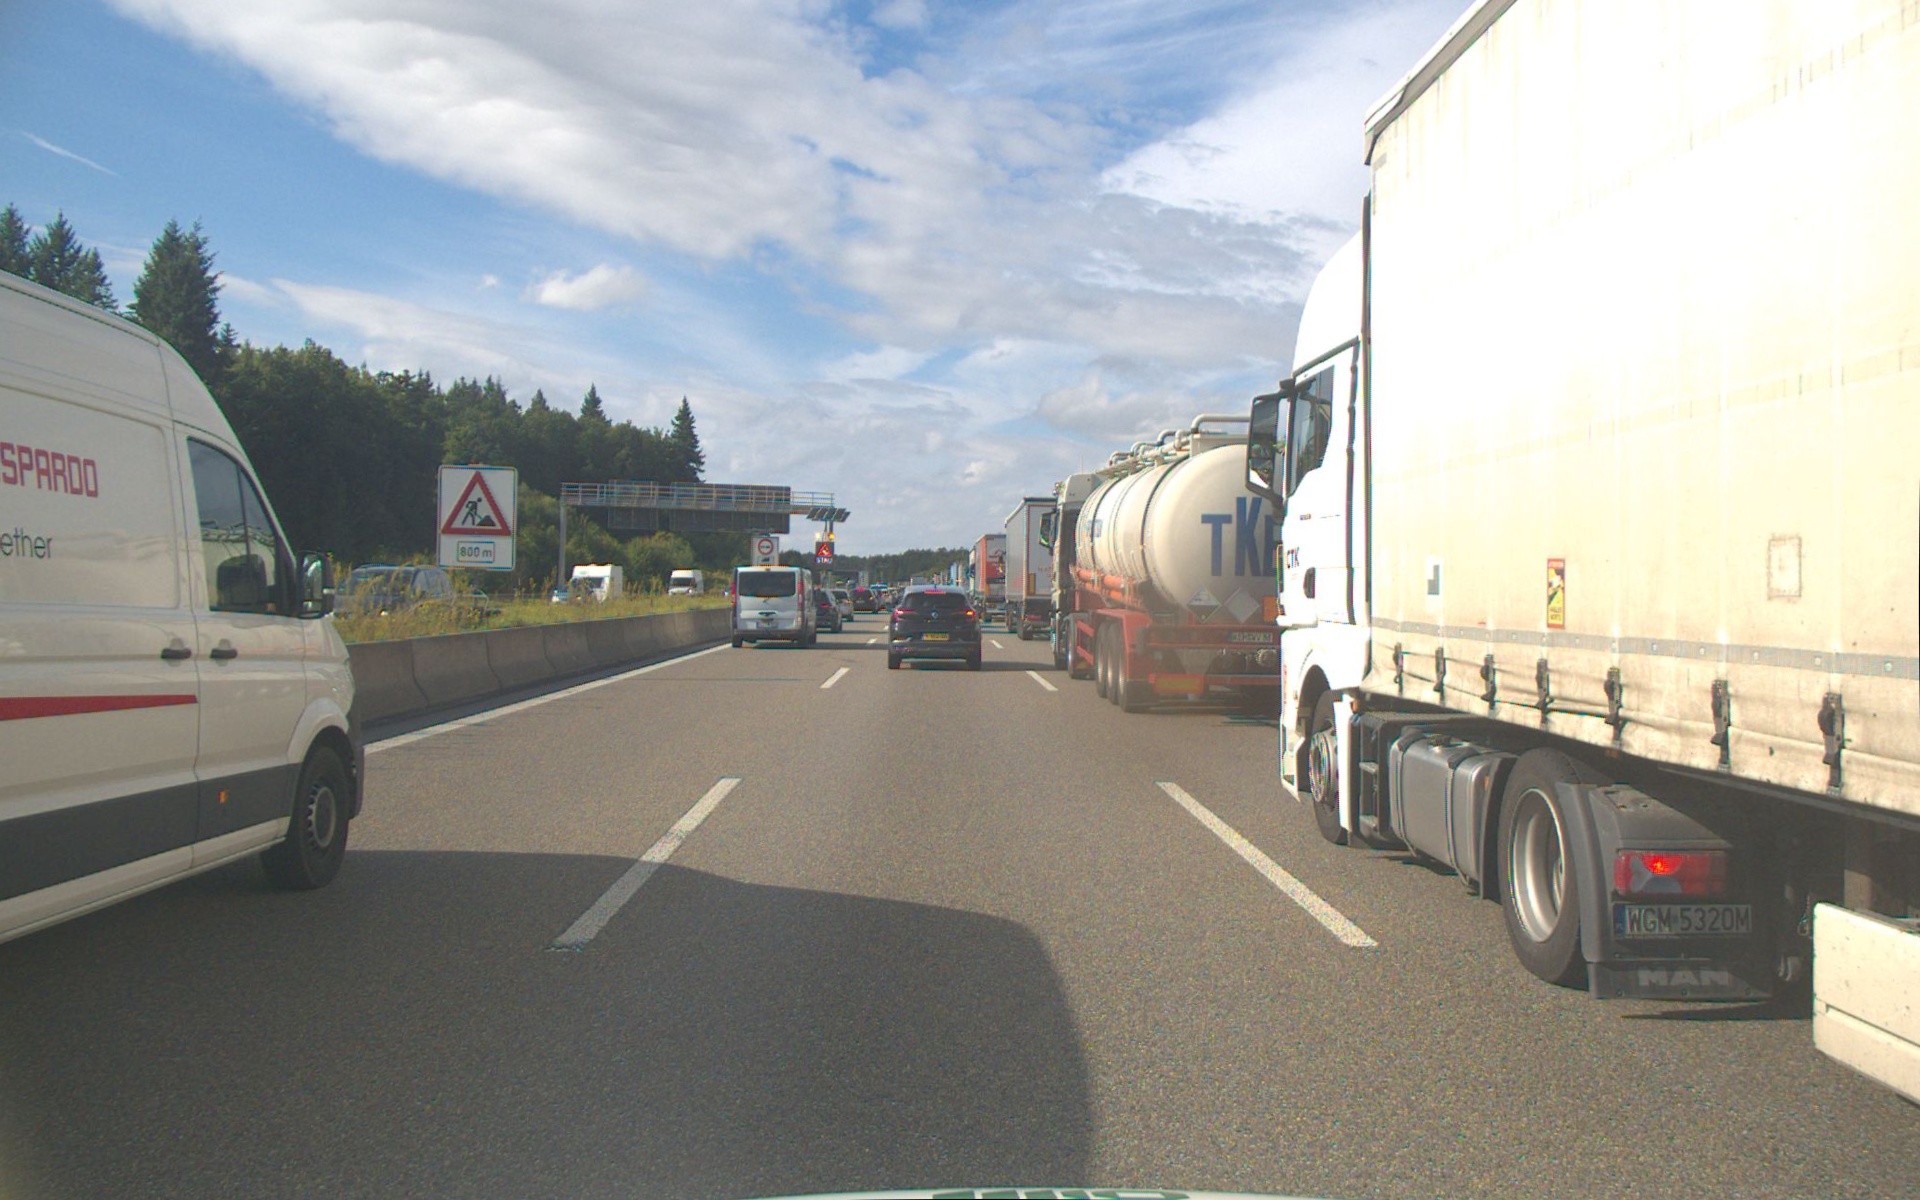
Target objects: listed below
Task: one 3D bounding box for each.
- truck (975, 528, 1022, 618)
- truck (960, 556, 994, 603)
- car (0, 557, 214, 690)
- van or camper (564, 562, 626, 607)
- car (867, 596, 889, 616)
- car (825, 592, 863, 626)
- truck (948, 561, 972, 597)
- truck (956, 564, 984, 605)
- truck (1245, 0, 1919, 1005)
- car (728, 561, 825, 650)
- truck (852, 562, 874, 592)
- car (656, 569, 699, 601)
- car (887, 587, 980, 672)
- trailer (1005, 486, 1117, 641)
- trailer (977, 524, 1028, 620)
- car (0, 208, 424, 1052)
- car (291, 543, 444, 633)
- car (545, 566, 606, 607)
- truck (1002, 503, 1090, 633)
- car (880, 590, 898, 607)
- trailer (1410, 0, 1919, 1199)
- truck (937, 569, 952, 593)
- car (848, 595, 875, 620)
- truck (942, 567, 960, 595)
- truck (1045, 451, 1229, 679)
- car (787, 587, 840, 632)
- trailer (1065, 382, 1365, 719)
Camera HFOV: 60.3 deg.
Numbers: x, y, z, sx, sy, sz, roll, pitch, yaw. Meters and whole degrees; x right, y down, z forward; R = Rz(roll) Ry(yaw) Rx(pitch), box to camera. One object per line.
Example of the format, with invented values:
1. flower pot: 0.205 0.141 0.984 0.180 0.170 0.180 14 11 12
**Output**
1. truck: 1.913 -1.310 83.481 2.090 4.356 6.337 1 0 -1
2. truck: 1.102 -1.346 110.279 1.953 2.982 4.981 4 0 -1
3. car: -12.301 0.289 23.378 1.791 1.713 3.808 1 0 -1
4. van or camper: -20.759 -0.847 94.277 2.409 2.456 5.850 1 0 -2
5. car: -5.990 0.434 120.739 1.406 1.333 3.532 4 0 -2
6. car: -5.250 0.382 75.157 1.470 1.420 3.475 4 0 -1
7. truck: -0.014 -1.923 154.229 1.953 3.105 4.981 4 0 -1
8. truck: 0.761 -1.182 128.646 1.953 2.982 4.981 4 0 -1
9. truck: 3.469 -0.660 8.962 2.653 4.131 6.360 0 0 -1
10. car: -4.622 0.137 42.356 1.894 2.013 5.097 4 0 -1
11. truck: -12.566 -2.930 214.761 2.297 3.656 6.304 4 0 -1
12. car: -21.913 -1.156 128.594 2.269 2.231 6.861 4 0 -2
13. car: -0.530 0.519 32.174 1.662 1.509 4.159 1 1 -1
14. trailer: 2.969 -1.011 51.736 2.745 4.318 11.055 0 0 0
15. trailer: 1.956 -1.276 79.213 2.106 4.333 8.439 1 0 -1
16. car: -3.986 0.079 6.097 1.974 2.644 6.182 0 1 0
17. car: -11.931 -0.234 33.573 1.635 1.609 3.999 4 0 -1
18. car: -20.579 -0.721 88.810 2.194 2.093 5.081 1 0 -2
19. truck: 2.927 -1.055 58.079 2.729 4.321 6.459 0 0 0
20. car: -5.807 -0.106 135.727 1.333 1.323 3.084 4 0 -1
21. trailer: 3.603 -0.635 1.537 2.648 4.153 12.942 0 0 -1
22. truck: -2.119 -2.557 226.037 1.953 3.105 4.981 4 0 -1
23. car: -5.841 0.430 98.616 1.406 1.333 3.532 4 0 -2
24. truck: -1.149 -2.283 199.014 1.953 3.105 4.981 4 0 -1
25. truck: 3.035 -0.566 30.045 2.482 3.646 6.728 0 0 -1
26. car: -4.853 0.305 55.158 1.470 1.420 3.475 2 0 -1
27. trailer: 3.167 -0.551 23.651 2.489 3.717 10.624 0 0 -1
